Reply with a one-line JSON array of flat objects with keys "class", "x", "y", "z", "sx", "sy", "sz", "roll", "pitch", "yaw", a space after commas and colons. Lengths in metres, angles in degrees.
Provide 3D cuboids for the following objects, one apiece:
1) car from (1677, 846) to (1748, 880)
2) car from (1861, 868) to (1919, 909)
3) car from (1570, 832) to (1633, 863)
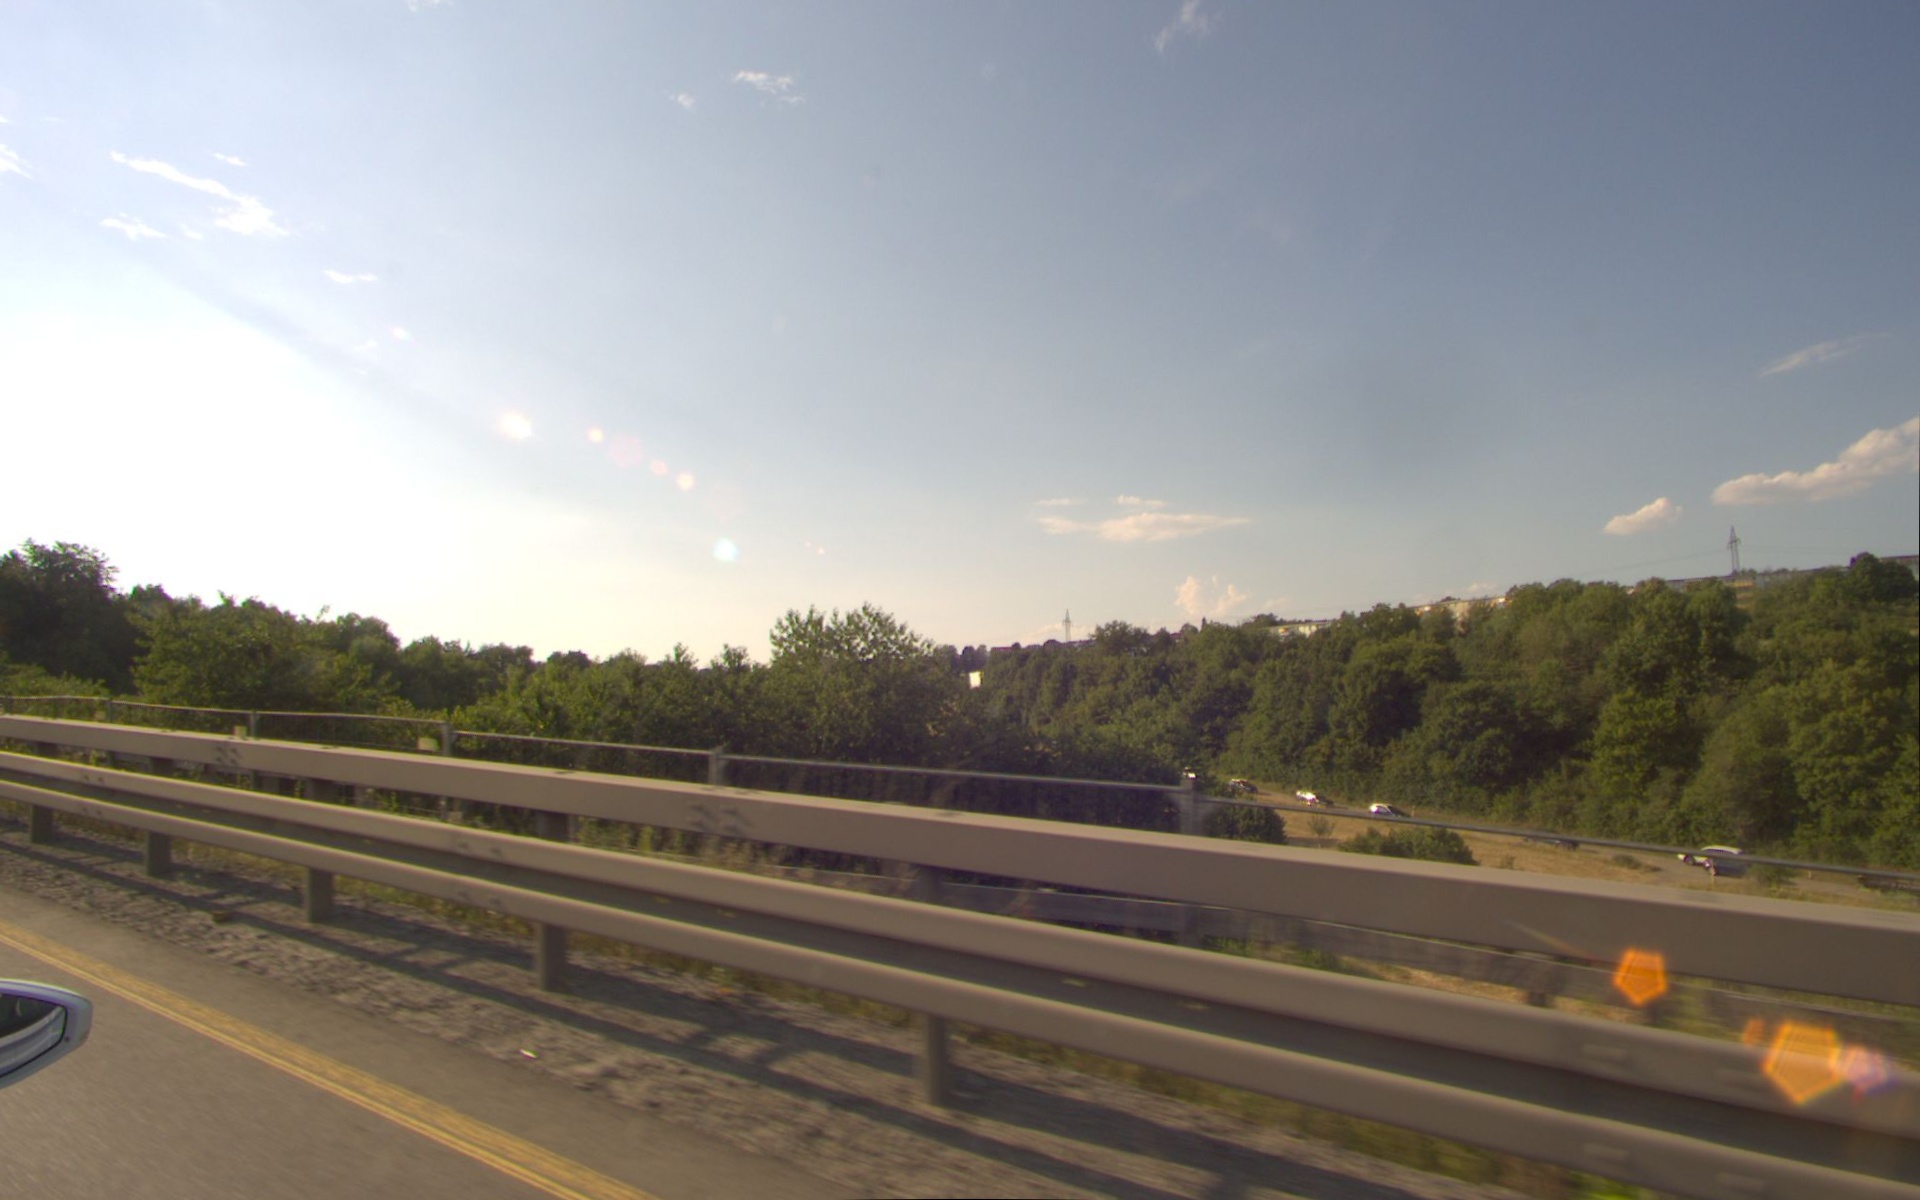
[{"class": "car", "x": 58.715, "y": 20.496, "z": 78.213, "sx": 1.658, "sy": 1.573, "sz": 4.085, "roll": 0, "pitch": -2, "yaw": -30}, {"class": "car", "x": 63.638, "y": 19.439, "z": 66.745, "sx": 1.683, "sy": 1.858, "sz": 5.105, "roll": 0, "pitch": -2, "yaw": -30}, {"class": "car", "x": 53.253, "y": 20.528, "z": 83.195, "sx": 1.661, "sy": 1.573, "sz": 4.079, "roll": 0, "pitch": -2, "yaw": -35}]
